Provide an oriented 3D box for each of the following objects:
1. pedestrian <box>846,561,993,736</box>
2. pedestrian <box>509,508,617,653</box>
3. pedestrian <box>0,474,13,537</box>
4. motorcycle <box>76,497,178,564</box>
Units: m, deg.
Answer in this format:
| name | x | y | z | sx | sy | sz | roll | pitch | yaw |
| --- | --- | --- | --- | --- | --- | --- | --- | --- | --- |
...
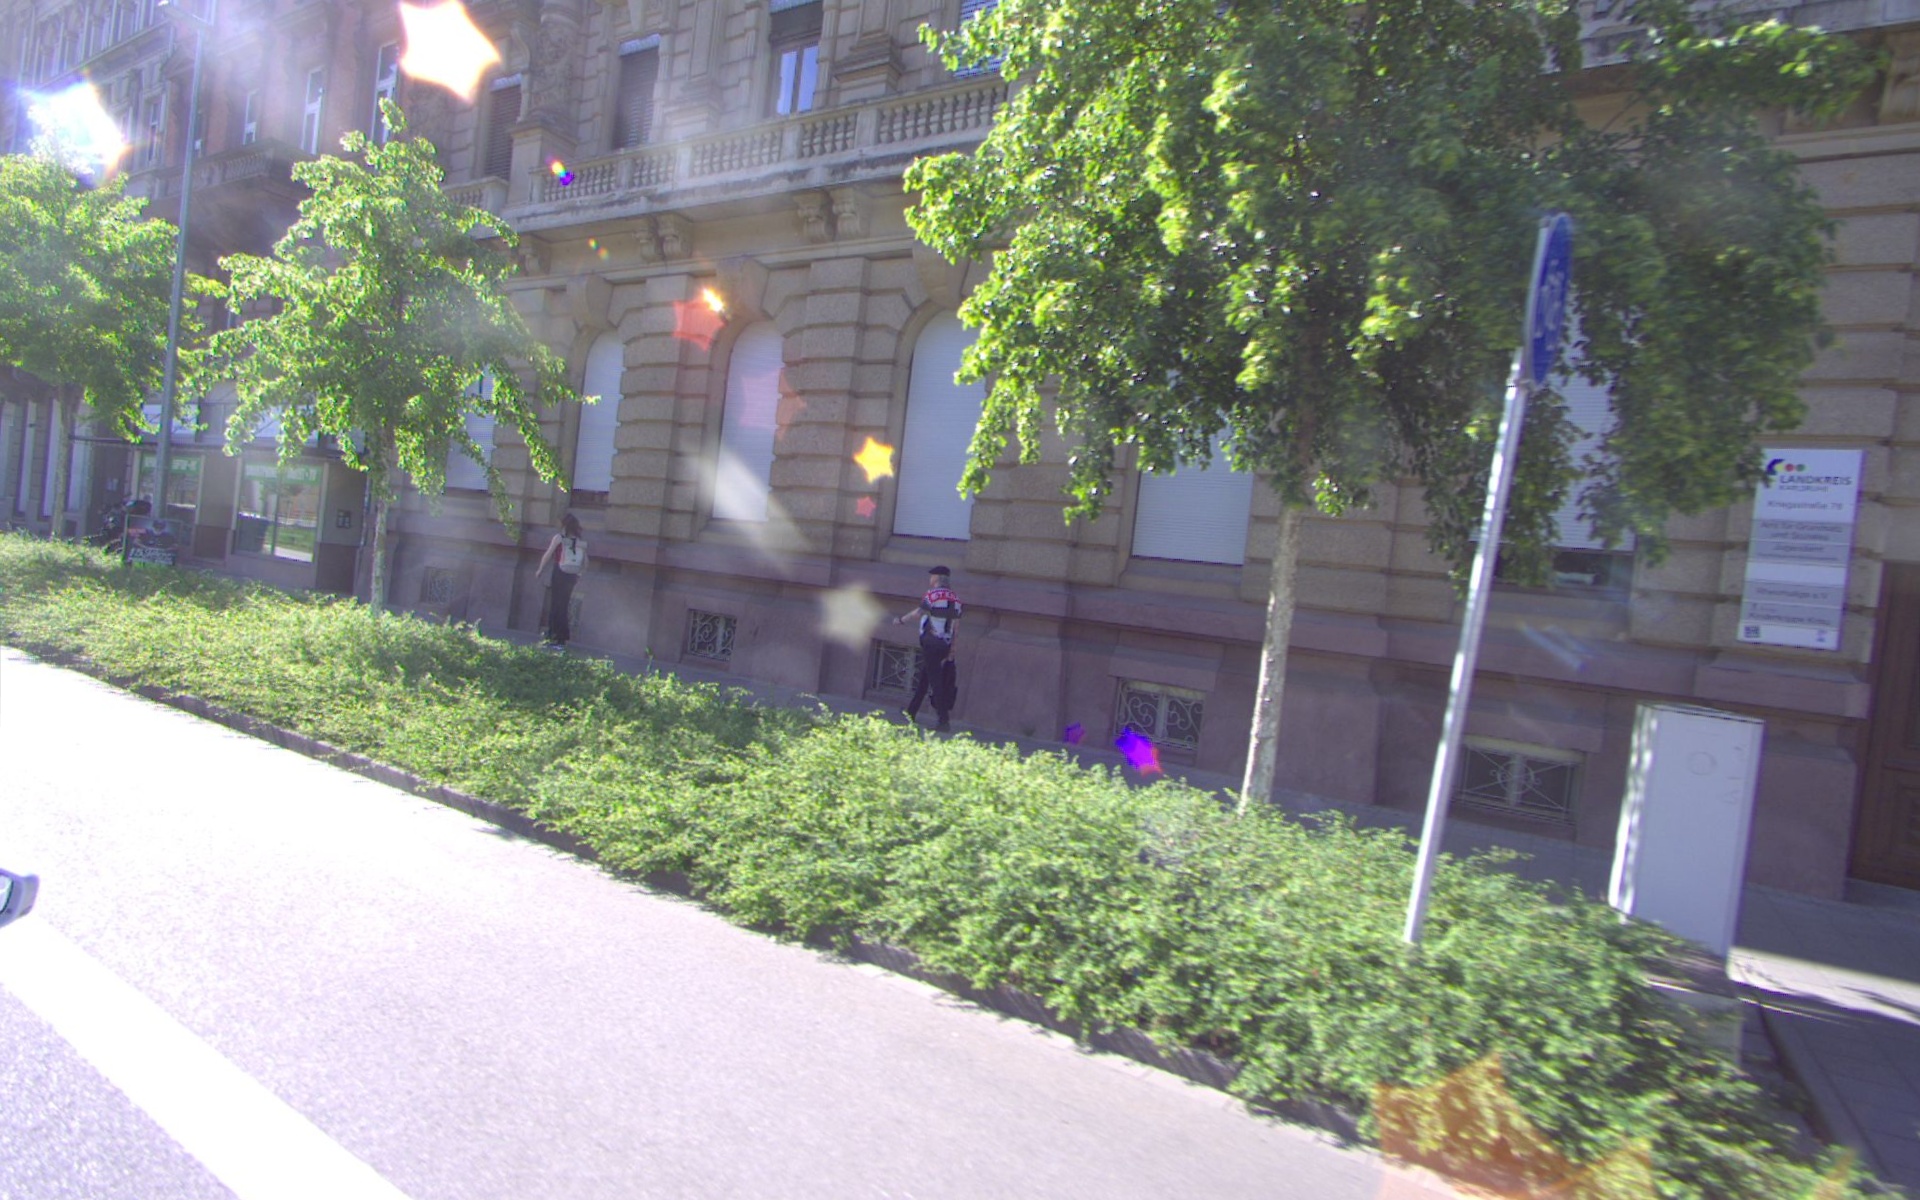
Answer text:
| name | x | y | z | sx | sy | sz | roll | pitch | yaw |
| --- | --- | --- | --- | --- | --- | --- | --- | --- | --- |
| pedestrian | -0.437 | 0.501 | 10.936 | 1.096 | 1.715 | 0.969 | 7 | 3 | 33 |
| pedestrian | -5.683 | -0.269 | 14.404 | 1.081 | 1.945 | 0.889 | 7 | 3 | 37 |
| pedestrian | -26.399 | -2.621 | 27.112 | 0.976 | 1.661 | 0.971 | 8 | 3 | 32 |
| motorcycle | -19.445 | -1.628 | 23.455 | 2.932 | 1.281 | 0.867 | 6 | -1 | 32 |
